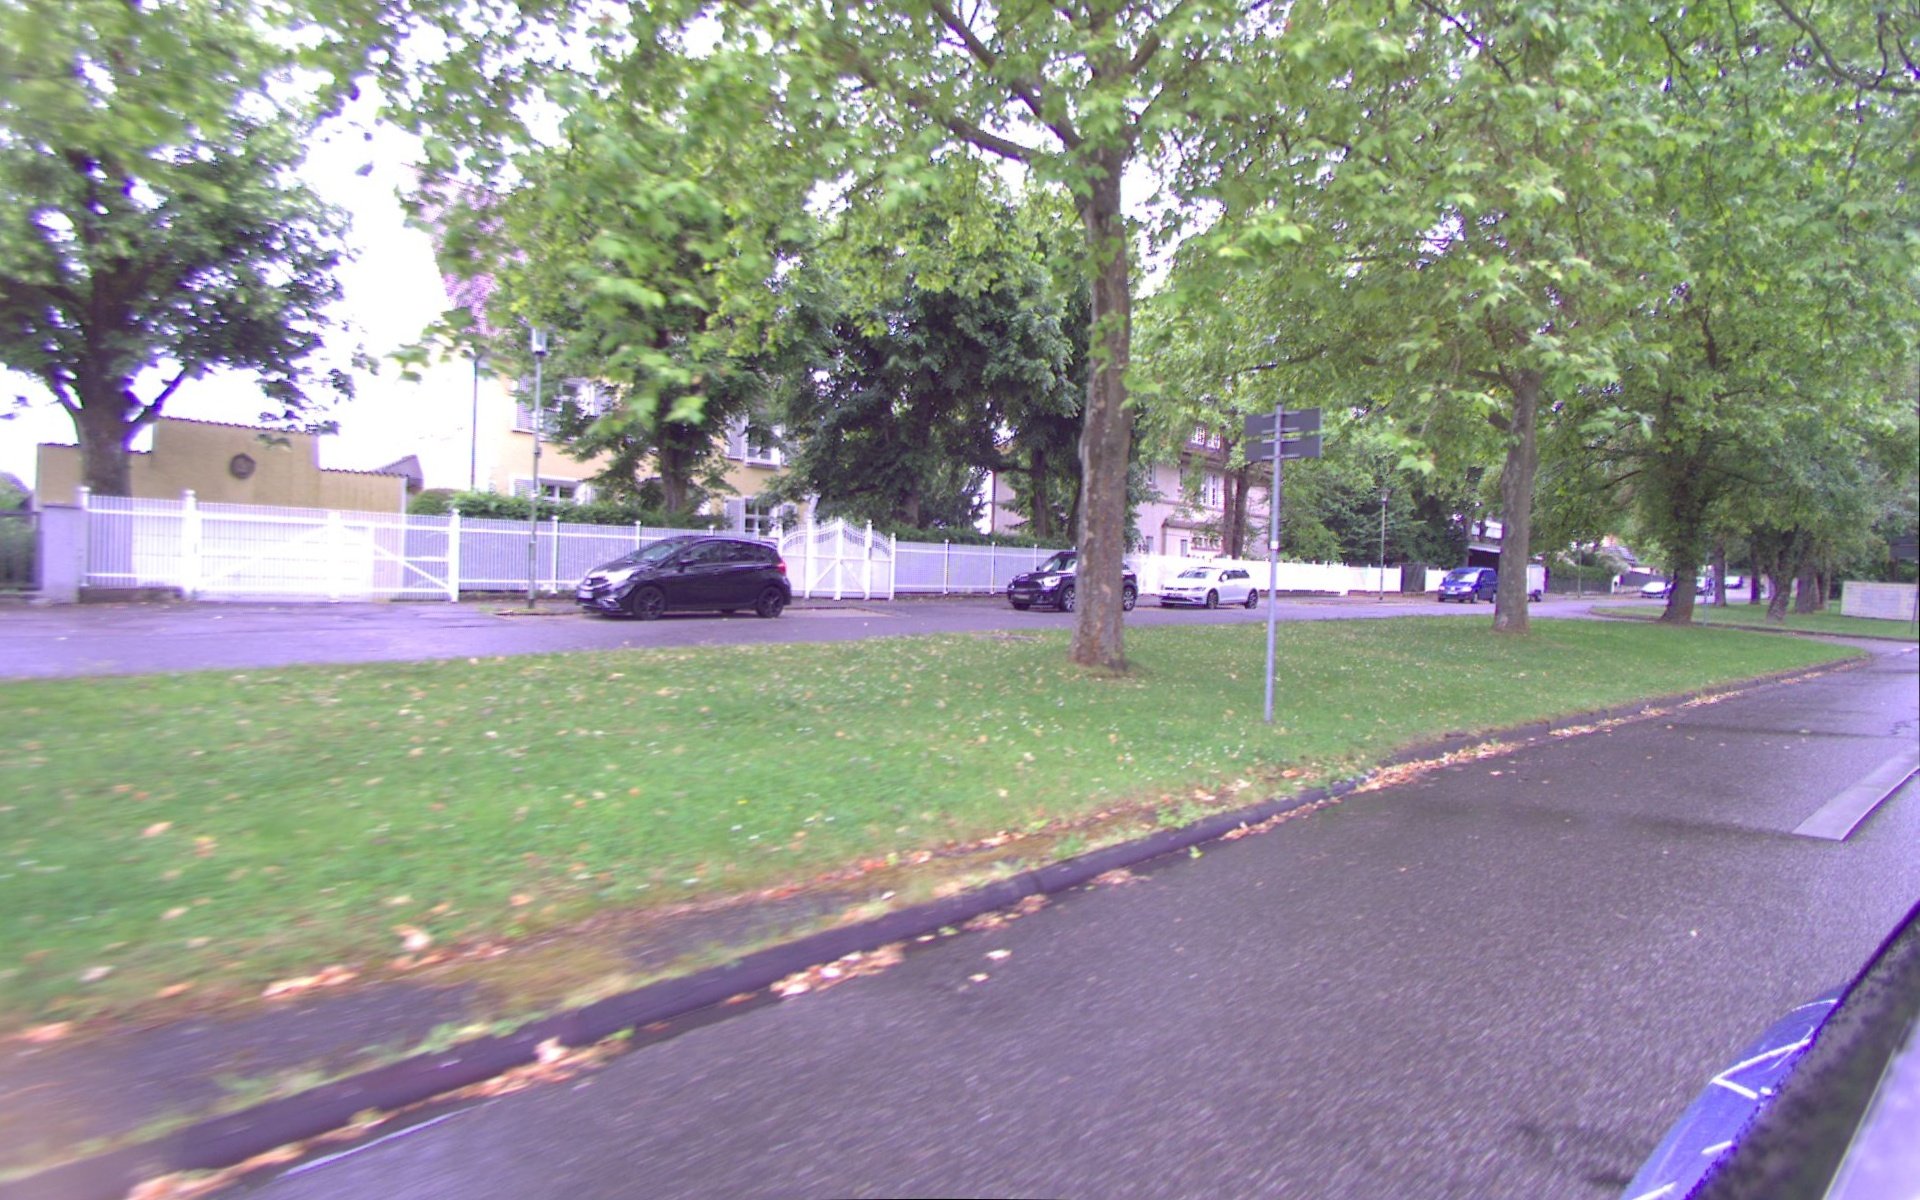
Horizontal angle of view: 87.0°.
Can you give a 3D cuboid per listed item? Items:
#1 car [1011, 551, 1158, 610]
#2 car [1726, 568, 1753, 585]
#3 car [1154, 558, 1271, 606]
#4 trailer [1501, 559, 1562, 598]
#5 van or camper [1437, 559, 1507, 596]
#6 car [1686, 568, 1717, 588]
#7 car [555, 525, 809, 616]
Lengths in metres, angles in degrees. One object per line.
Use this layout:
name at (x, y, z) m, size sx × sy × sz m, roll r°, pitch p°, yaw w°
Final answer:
car at (3.461, -0.539, 27.641) m, size 1.994 × 1.489 × 4.060 m, roll 1°, pitch 1°, yaw 44°
car at (94.181, -2.826, 122.274) m, size 3.935 × 2.038 × 1.995 m, roll -1°, pitch 3°, yaw -45°
car at (8.296, -0.580, 33.031) m, size 1.994 × 1.467 × 4.060 m, roll 1°, pitch 1°, yaw 44°
trailer at (32.883, -1.235, 58.179) m, size 1.767 × 2.143 × 5.110 m, roll 0°, pitch 1°, yaw 45°
van or camper at (26.025, -1.132, 51.349) m, size 1.993 × 1.831 × 4.703 m, roll 0°, pitch 1°, yaw 42°
car at (77.427, -2.303, 105.642) m, size 3.935 × 2.038 × 1.995 m, roll -1°, pitch 3°, yaw -45°
car at (-5.072, -0.506, 18.905) m, size 1.760 × 1.490 × 4.288 m, roll -1°, pitch 0°, yaw 44°
